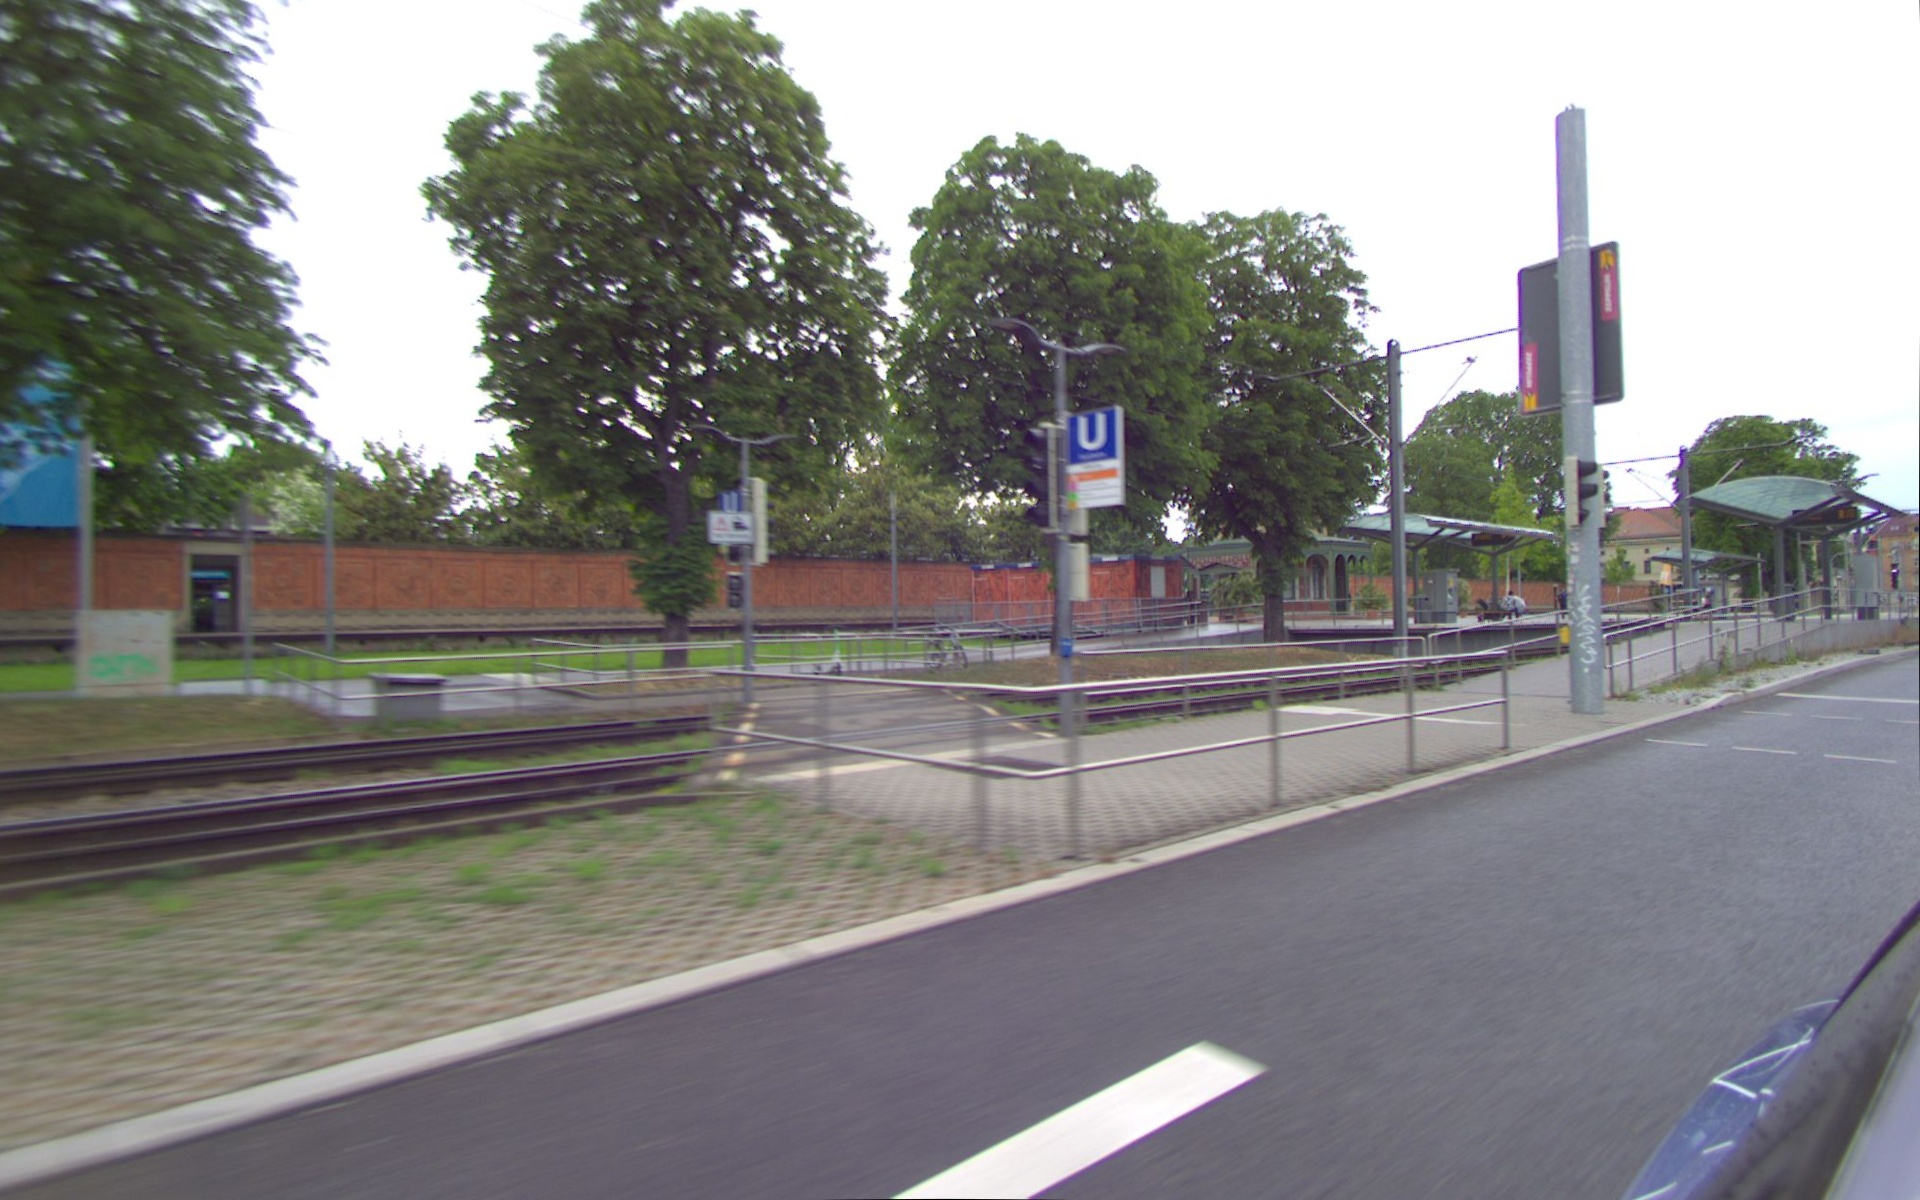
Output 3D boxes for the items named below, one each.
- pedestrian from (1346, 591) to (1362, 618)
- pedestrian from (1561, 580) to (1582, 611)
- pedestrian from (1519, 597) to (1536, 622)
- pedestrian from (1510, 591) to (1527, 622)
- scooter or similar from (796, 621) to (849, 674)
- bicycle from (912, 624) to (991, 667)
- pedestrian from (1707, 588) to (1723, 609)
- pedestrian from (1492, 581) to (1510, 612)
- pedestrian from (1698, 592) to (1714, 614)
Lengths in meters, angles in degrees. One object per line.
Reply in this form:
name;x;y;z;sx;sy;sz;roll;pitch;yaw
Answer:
pedestrian;26.503;0.303;68.059;0.681;1.733;0.533;-2;-3;-29
pedestrian;36.347;-0.272;60.162;1.161;1.813;0.722;1;-1;-40
pedestrian;23.025;0.379;41.078;0.541;1.021;0.438;0;-1;-40
pedestrian;22.377;0.273;40.553;0.541;1.241;0.438;0;-1;-40
scooter or similar;-3.117;1.052;22.854;0.424;1.151;1.545;1;-1;-41
bicycle;-0.234;1.087;24.758;0.560;0.969;2.325;1;-1;-41
pedestrian;44.544;-0.081;59.735;0.597;1.134;0.514;-7;-5;34
pedestrian;21.874;-0.151;40.923;0.541;1.241;0.438;0;-1;-40
pedestrian;44.056;0.199;59.761;0.770;1.228;0.518;-1;-5;-45
